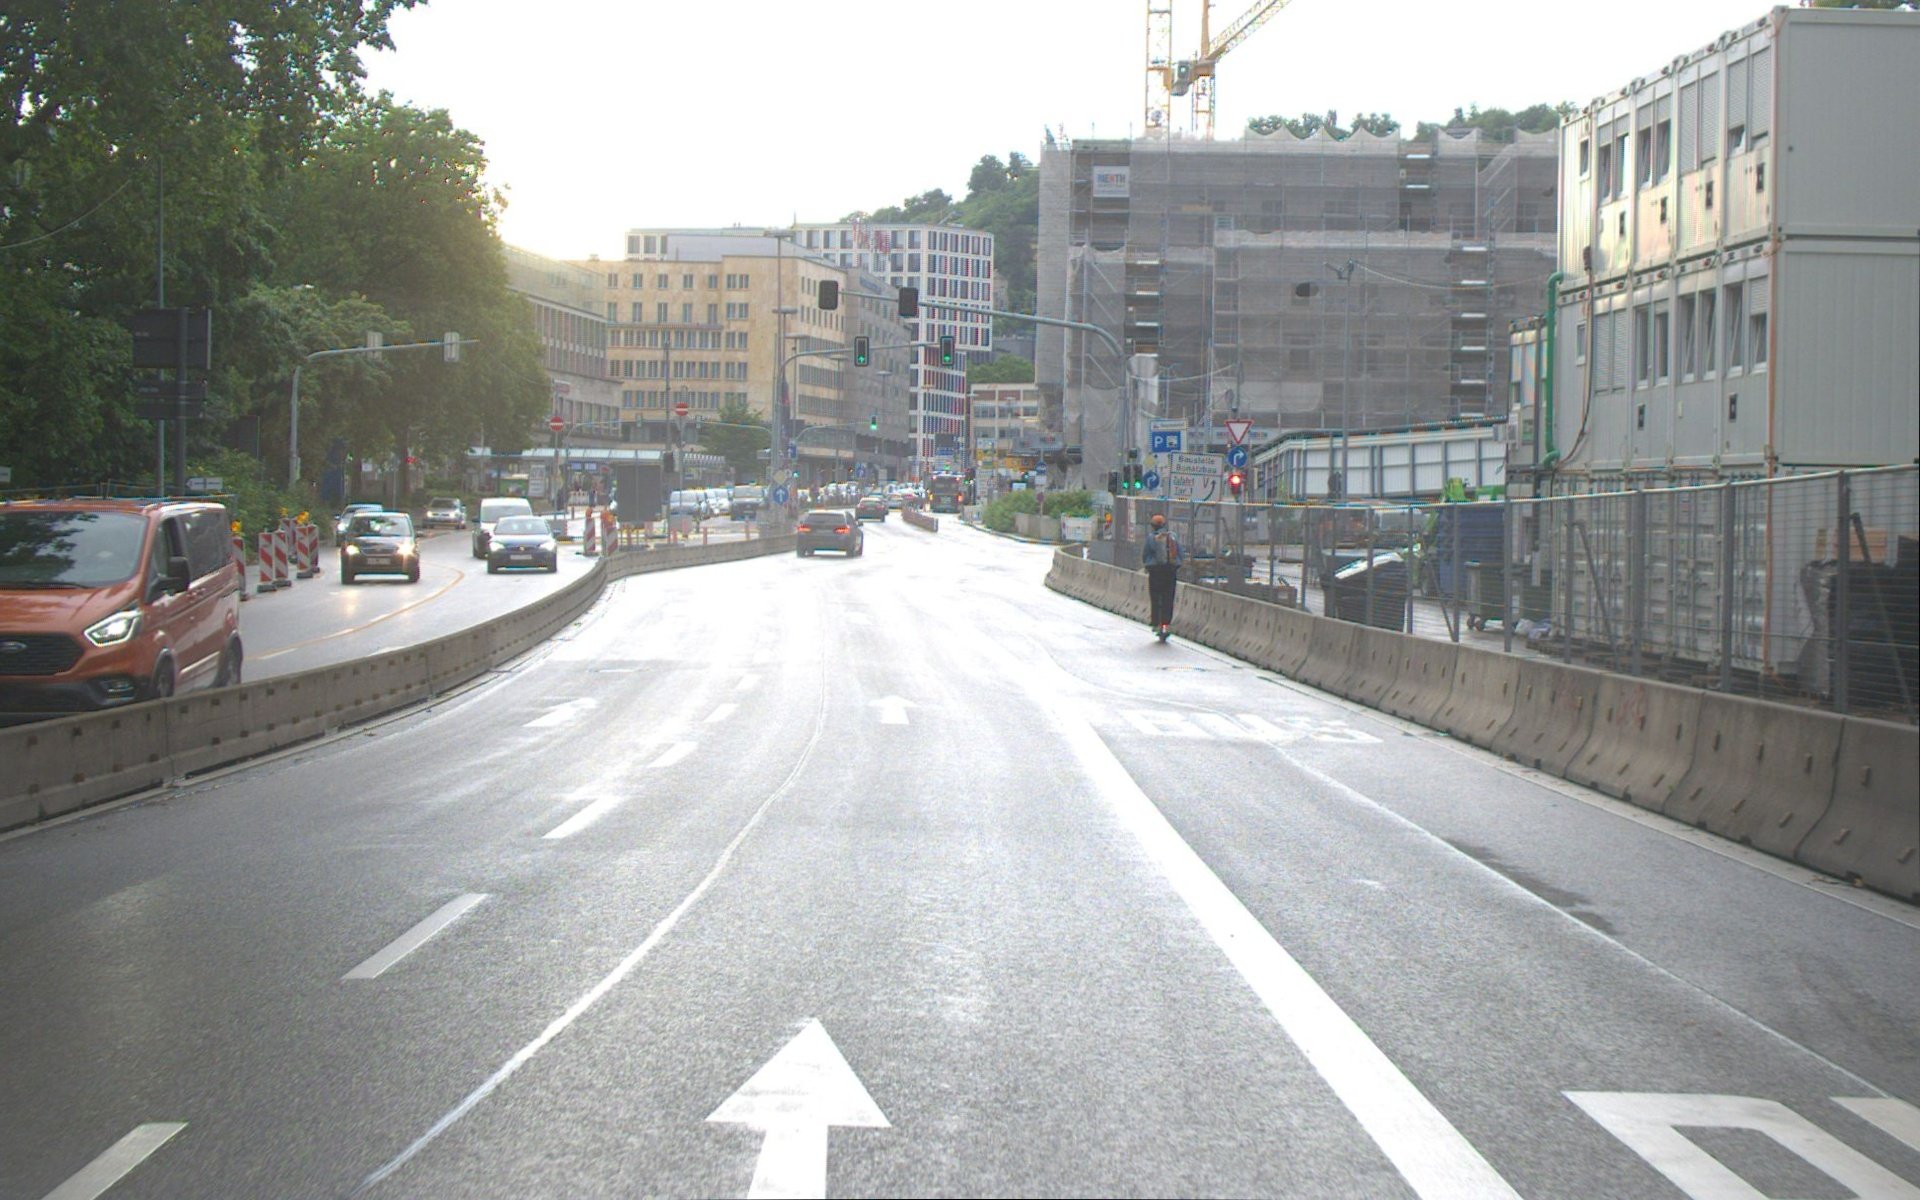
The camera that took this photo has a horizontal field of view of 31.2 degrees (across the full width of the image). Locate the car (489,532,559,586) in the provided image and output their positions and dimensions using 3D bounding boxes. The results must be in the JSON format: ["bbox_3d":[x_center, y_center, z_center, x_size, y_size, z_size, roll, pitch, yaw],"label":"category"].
[{"bbox_3d":[-11.202,-1.053,88.403,1.711,1.334,4.062,-1,1,-7],"label":"car"}]

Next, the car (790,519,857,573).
[{"bbox_3d":[-4.267,-1.673,107.249,1.901,1.523,4.178,-1,-1,-4],"label":"car"}]

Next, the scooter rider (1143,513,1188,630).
[{"bbox_3d":[3.170,-0.443,53.149,0.597,1.779,0.997,1,1,0],"label":"scooter rider"}]

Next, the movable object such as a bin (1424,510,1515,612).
[{"bbox_3d":[11.267,-0.874,76.016,1.456,2.195,1.265,0,3,-25],"label":"movable object such as a bin"}]

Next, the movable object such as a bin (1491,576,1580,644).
[{"bbox_3d":[9.872,0.178,59.051,1.246,1.119,1.239,-1,-1,-3],"label":"movable object such as a bin"}]

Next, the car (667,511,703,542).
[{"bbox_3d":[-14.874,-3.955,185.764,1.901,1.523,4.178,-1,-1,-4],"label":"car"}]

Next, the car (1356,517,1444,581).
[{"bbox_3d":[13.724,-1.630,107.531,1.846,1.800,5.087,1,3,-3],"label":"car"}]

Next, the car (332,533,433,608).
[{"bbox_3d":[-13.423,-0.710,80.069,2.030,1.647,4.320,0,2,-6],"label":"car"}]

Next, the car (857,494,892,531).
[{"bbox_3d":[-5.097,-5.210,204.943,1.993,2.007,4.000,-1,-1,-1],"label":"car"}]

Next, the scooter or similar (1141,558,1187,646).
[{"bbox_3d":[3.156,0.014,53.198,0.597,1.314,1.667,1,1,0],"label":"scooter or similar"}]

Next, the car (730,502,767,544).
[{"bbox_3d":[-11.485,-4.147,186.182,1.901,2.075,4.178,-1,-1,-4],"label":"car"}]

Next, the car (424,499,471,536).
[{"bbox_3d":[-23.933,-3.833,160.710,1.993,1.536,4.446,-1,-1,-7],"label":"car"}]

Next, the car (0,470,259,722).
[{"bbox_3d":[-7.337,0.015,29.049,2.030,1.930,5.044,-1,-1,-3],"label":"car"}]

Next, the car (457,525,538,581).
[{"bbox_3d":[-14.139,-1.439,105.291,2.030,1.648,4.912,-1,1,-3],"label":"car"}]
